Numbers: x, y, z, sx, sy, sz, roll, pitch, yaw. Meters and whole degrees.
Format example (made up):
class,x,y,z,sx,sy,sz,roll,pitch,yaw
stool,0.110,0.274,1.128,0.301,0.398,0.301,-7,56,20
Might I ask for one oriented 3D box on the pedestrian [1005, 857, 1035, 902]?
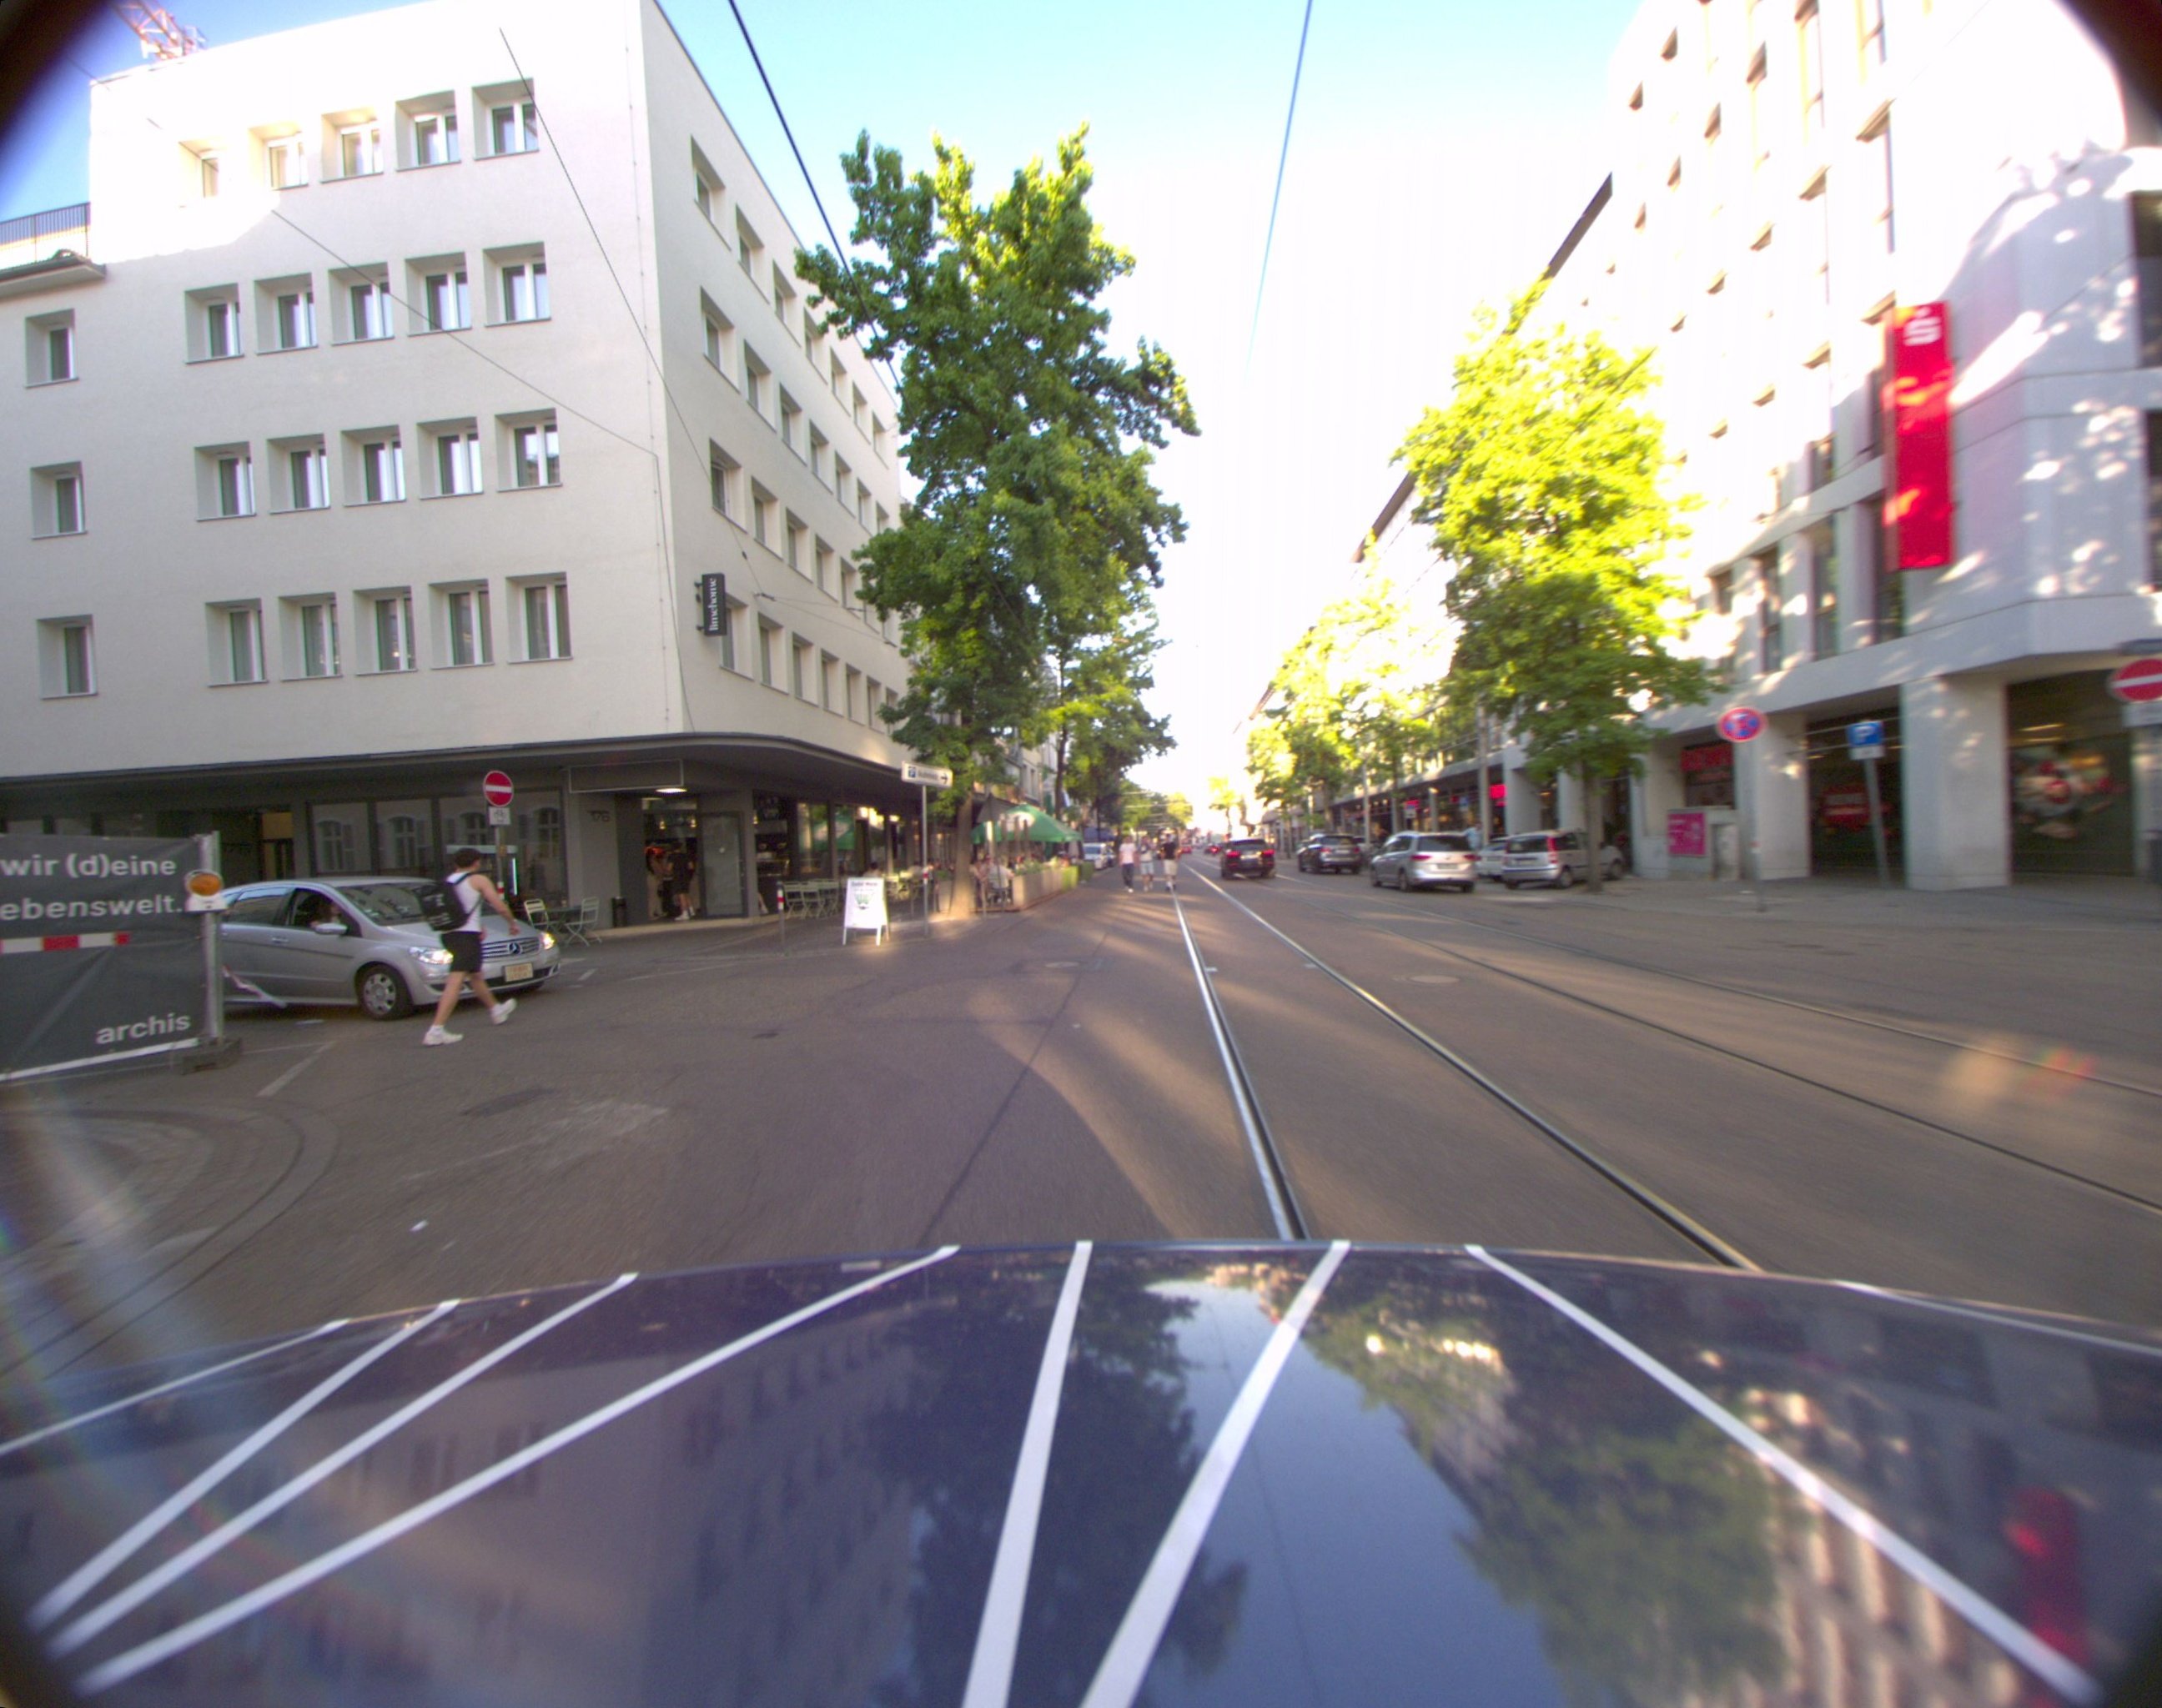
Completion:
class,x,y,z,sx,sy,sz,roll,pitch,yaw
pedestrian,-1.835,0.764,22.858,0.716,1.321,0.624,-2,1,7

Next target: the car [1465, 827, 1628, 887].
class,x,y,z,sx,sy,sz,roll,pitch,yaw
car,14.334,0.065,23.433,4.319,1.404,1.576,-5,2,-12

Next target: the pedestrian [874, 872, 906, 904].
class,x,y,z,sx,sy,sz,roll,pitch,yaw
pedestrian,-5.781,1.025,22.998,0.716,0.927,0.624,-2,1,7

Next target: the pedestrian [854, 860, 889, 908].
class,x,y,z,sx,sy,sz,roll,pitch,yaw
pedestrian,-5.976,0.840,21.644,0.716,1.321,0.624,-2,1,7

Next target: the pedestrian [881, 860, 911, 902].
class,x,y,z,sx,sy,sz,roll,pitch,yaw
pedestrian,-6.008,0.863,24.672,0.716,1.321,0.624,-2,1,7

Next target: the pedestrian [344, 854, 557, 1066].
class,x,y,z,sx,sy,sz,roll,pitch,yaw
pedestrian,-5.949,0.949,7.244,0.944,1.805,1.071,-2,3,14

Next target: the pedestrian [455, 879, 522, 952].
class,x,y,z,sx,sy,sz,roll,pitch,yaw
pedestrian,-11.335,1.164,14.549,0.623,1.321,0.717,-2,1,7

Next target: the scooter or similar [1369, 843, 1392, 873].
class,x,y,z,sx,sy,sz,roll,pitch,yaw
scooter or similar,13.021,0.168,33.023,0.542,1.241,1.684,-2,0,9

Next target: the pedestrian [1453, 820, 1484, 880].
class,x,y,z,sx,sy,sz,roll,pitch,yaw
pedestrian,12.861,-0.134,25.254,0.655,1.922,0.723,-2,1,8

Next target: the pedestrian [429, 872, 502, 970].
class,x,y,z,sx,sy,sz,roll,pitch,yaw
pedestrian,-10.663,1.141,13.174,0.622,1.627,0.718,-2,1,24

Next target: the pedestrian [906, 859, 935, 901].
class,x,y,z,sx,sy,sz,roll,pitch,yaw
pedestrian,-5.192,0.846,24.627,0.716,1.321,0.624,-2,1,7

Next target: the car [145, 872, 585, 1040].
class,x,y,z,sx,sy,sz,roll,pitch,yaw
car,-8.459,1.150,9.128,3.936,1.600,1.868,-2,2,13

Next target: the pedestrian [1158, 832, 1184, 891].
class,x,y,z,sx,sy,sz,roll,pitch,yaw
pedestrian,3.025,0.249,25.554,0.772,1.922,0.873,-2,1,8

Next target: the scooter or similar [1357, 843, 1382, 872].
class,x,y,z,sx,sy,sz,roll,pitch,yaw
scooter or similar,13.289,0.149,35.032,0.579,1.241,2.127,-2,0,9

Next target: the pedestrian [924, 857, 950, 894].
class,x,y,z,sx,sy,sz,roll,pitch,yaw
pedestrian,-5.258,0.778,27.768,0.716,1.321,0.624,-2,1,7

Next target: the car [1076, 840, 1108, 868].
class,x,y,z,sx,sy,sz,roll,pitch,yaw
car,0.827,-0.069,52.636,2.002,1.831,4.968,0,1,3

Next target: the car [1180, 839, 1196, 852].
class,x,y,z,sx,sy,sz,roll,pitch,yaw
car,16.397,-1.360,116.632,2.217,1.849,4.001,-2,1,5

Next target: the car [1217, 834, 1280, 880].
class,x,y,z,sx,sy,sz,roll,pitch,yaw
car,6.836,0.100,31.386,2.038,1.677,4.202,-3,0,6

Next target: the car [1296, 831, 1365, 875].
class,x,y,z,sx,sy,sz,roll,pitch,yaw
car,10.961,-0.057,33.630,2.038,1.796,4.202,-1,1,6

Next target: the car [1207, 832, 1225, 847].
class,x,y,z,sx,sy,sz,roll,pitch,yaw
car,18.685,-2.003,105.056,1.998,1.871,4.001,-2,0,5

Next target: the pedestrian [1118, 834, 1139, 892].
class,x,y,z,sx,sy,sz,roll,pitch,yaw
pedestrian,1.625,0.305,25.879,0.598,1.922,0.873,-2,1,8

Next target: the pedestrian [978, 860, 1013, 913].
class,x,y,z,sx,sy,sz,roll,pitch,yaw
pedestrian,-2.223,0.829,19.789,0.716,1.321,0.624,-2,1,7

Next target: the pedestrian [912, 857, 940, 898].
class,x,y,z,sx,sy,sz,roll,pitch,yaw
pedestrian,-5.292,0.796,25.932,0.716,1.321,0.624,-2,1,7

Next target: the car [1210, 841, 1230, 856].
class,x,y,z,sx,sy,sz,roll,pitch,yaw
car,15.923,-0.667,87.045,1.714,1.586,4.001,-2,0,4

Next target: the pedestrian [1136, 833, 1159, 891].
class,x,y,z,sx,sy,sz,roll,pitch,yaw
pedestrian,2.287,0.278,25.960,0.672,1.922,0.873,-2,1,8

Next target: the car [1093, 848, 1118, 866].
class,x,y,z,sx,sy,sz,roll,pitch,yaw
car,1.935,0.202,58.832,1.714,1.318,3.595,-2,0,4

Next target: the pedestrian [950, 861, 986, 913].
class,x,y,z,sx,sy,sz,roll,pitch,yaw
pedestrian,-2.958,0.859,19.902,0.716,1.321,0.624,-2,1,7

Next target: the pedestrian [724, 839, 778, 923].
class,x,y,z,sx,sy,sz,roll,pitch,yaw
pedestrian,-7.704,0.610,17.757,0.726,1.898,0.803,-2,1,19

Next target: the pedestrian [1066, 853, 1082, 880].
class,x,y,z,sx,sy,sz,roll,pitch,yaw
pedestrian,-0.353,0.642,39.410,0.716,1.321,0.624,-2,1,7

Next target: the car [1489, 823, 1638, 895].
class,x,y,z,sx,sy,sz,roll,pitch,yaw
car,12.955,0.105,20.393,3.404,1.551,1.786,-6,2,-26

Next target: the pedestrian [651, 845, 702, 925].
class,x,y,z,sx,sy,sz,roll,pitch,yaw
pedestrian,-9.120,0.691,17.146,0.622,1.756,0.718,-2,1,33

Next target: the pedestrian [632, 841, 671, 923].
class,x,y,z,sx,sy,sz,roll,pitch,yaw
pedestrian,-10.153,0.650,17.989,0.571,1.898,0.723,-3,1,-15

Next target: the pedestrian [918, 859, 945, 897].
class,x,y,z,sx,sy,sz,roll,pitch,yaw
pedestrian,-5.287,0.841,26.811,0.716,1.321,0.624,-2,1,7

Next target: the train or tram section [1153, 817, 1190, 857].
class,x,y,z,sx,sy,sz,roll,pitch,yaw
train or tram section,10.222,-1.789,86.505,3.605,3.974,15.722,-2,0,6

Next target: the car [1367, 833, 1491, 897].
class,x,y,z,sx,sy,sz,roll,pitch,yaw
car,9.498,0.256,21.142,1.888,1.603,4.202,-1,1,6

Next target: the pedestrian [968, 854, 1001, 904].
class,x,y,z,sx,sy,sz,roll,pitch,yaw
pedestrian,-2.669,0.686,20.993,0.716,1.321,0.624,-2,1,7

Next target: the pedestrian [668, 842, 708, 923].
class,x,y,z,sx,sy,sz,roll,pitch,yaw
pedestrian,-9.460,0.680,18.320,0.725,1.898,0.569,-3,1,-23
